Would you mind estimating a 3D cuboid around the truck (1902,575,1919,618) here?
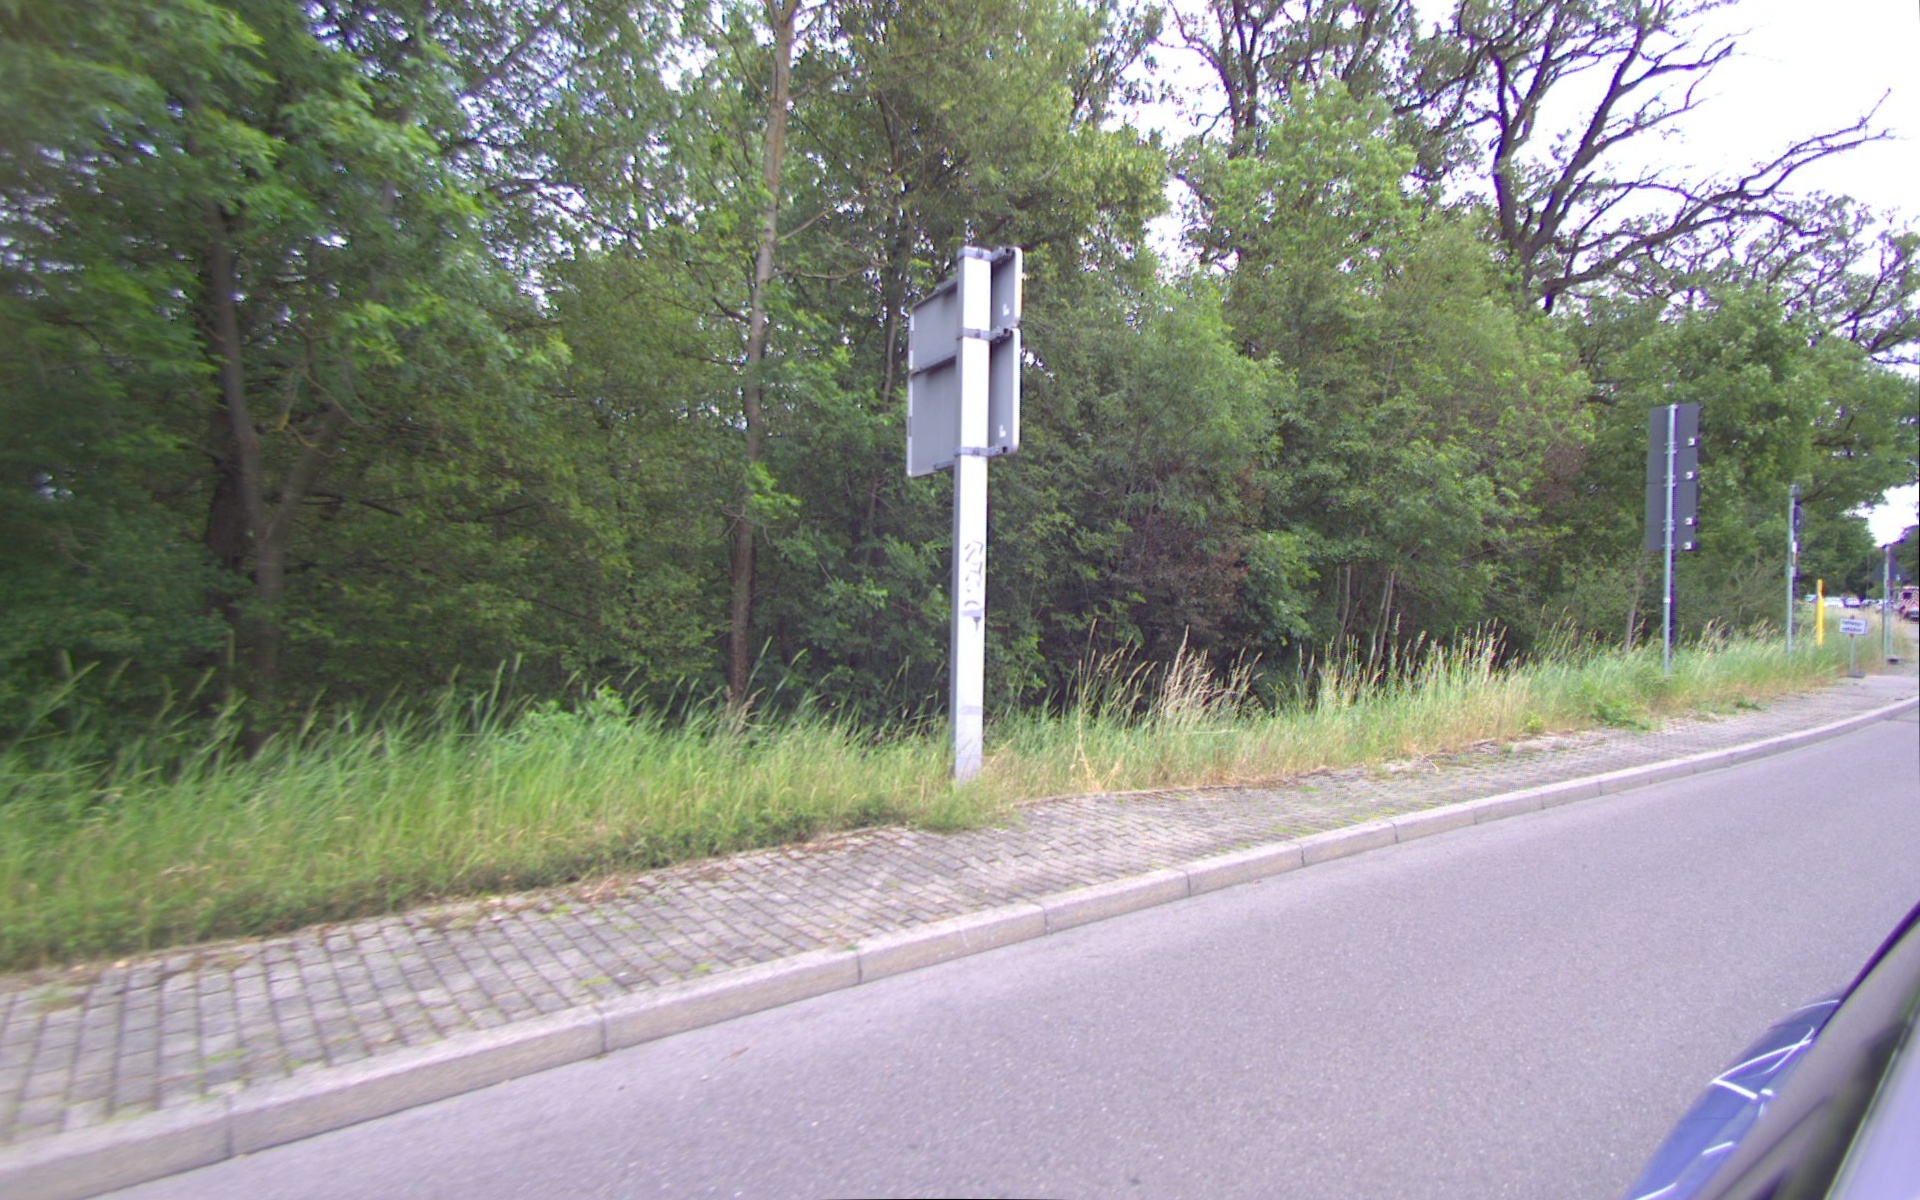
[{"bbox_3d":[85.206,-0.331,89.065,2.995,3.685,6.984,-1,-1,41],"label":"truck"}]
